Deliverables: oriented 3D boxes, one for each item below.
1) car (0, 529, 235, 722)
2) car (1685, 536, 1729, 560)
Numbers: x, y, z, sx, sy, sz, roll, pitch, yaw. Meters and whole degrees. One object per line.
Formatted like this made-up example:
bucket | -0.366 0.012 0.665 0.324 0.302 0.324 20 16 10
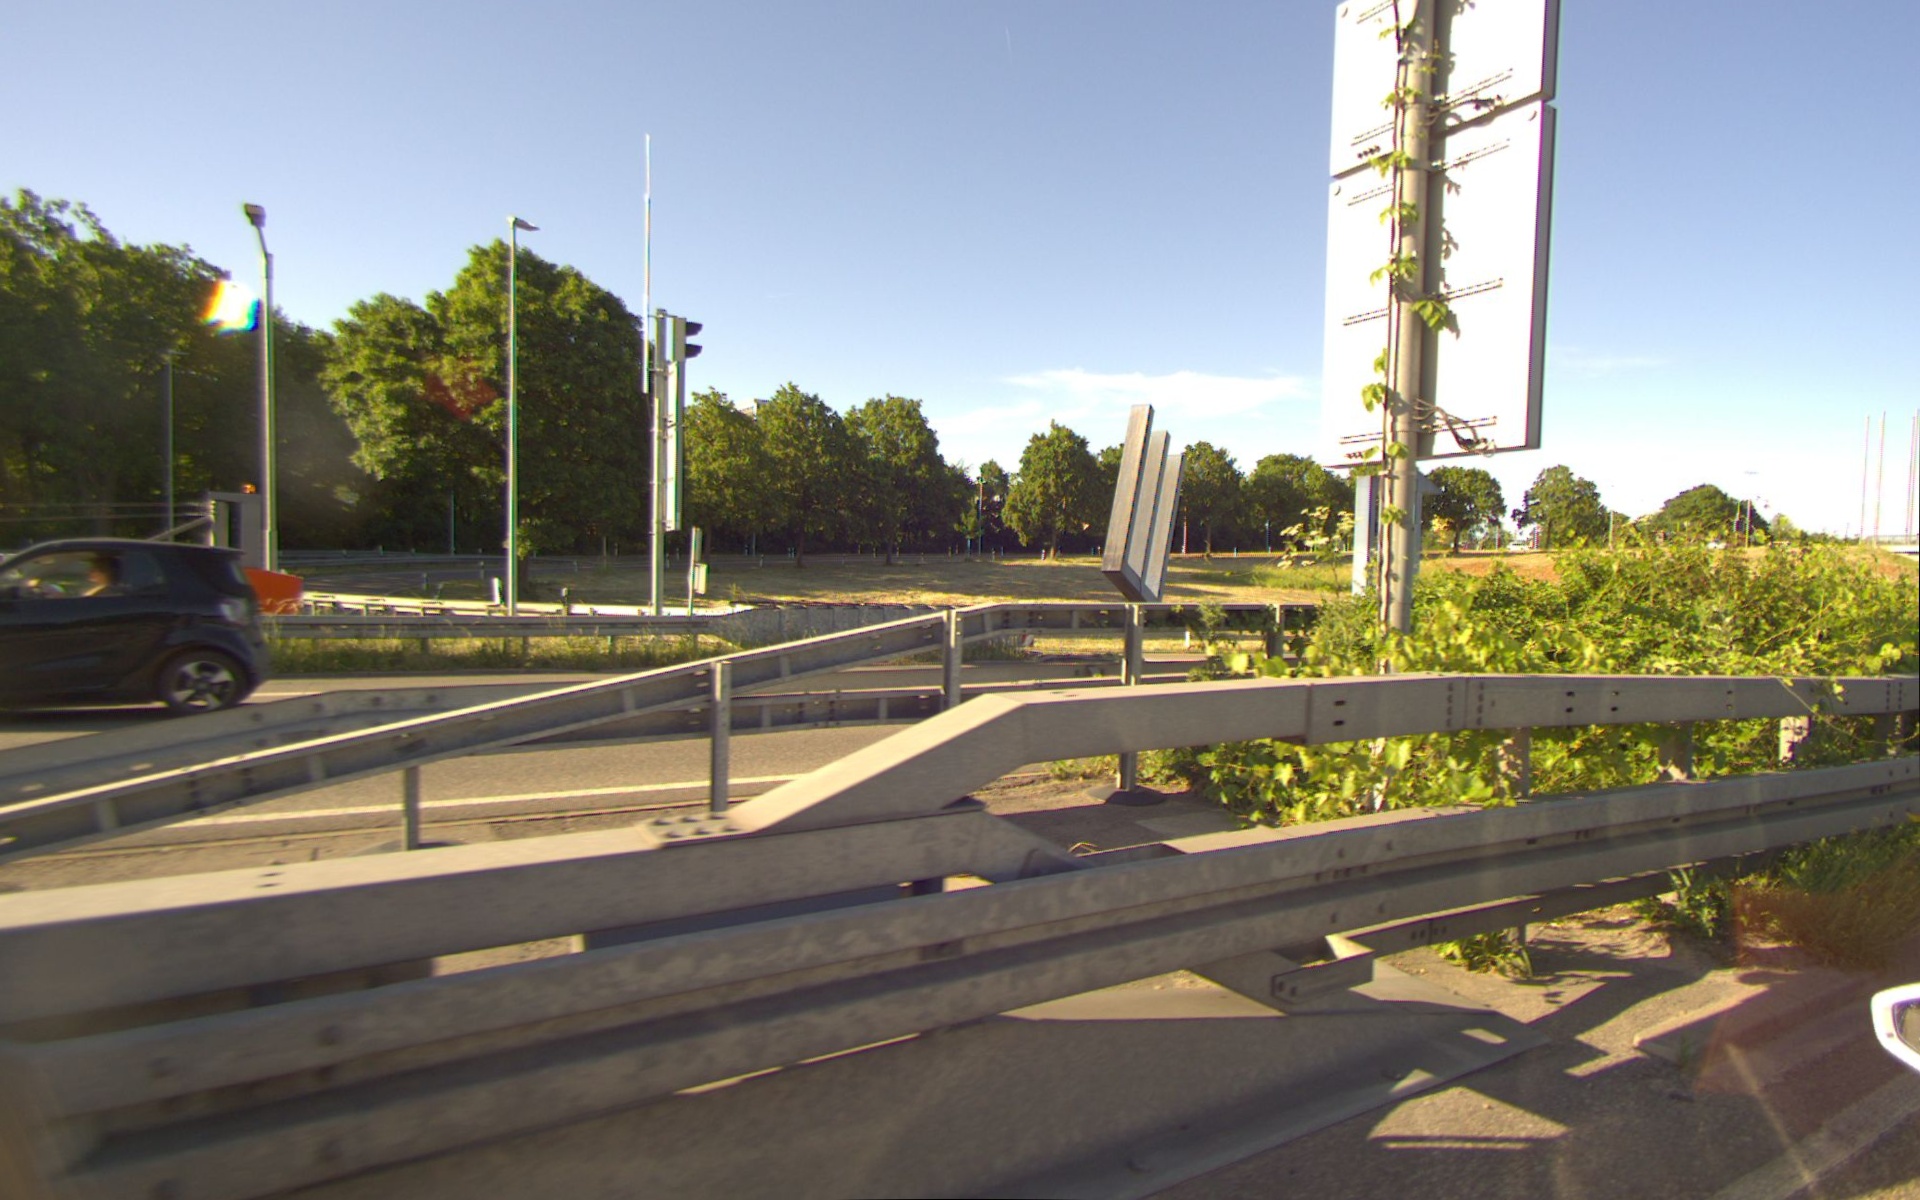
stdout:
car | -8.172 0.182 8.338 3.354 1.505 1.601 1 0 -32
car | 96.551 -6.702 129.878 2.044 2.843 4.314 1 1 -11
